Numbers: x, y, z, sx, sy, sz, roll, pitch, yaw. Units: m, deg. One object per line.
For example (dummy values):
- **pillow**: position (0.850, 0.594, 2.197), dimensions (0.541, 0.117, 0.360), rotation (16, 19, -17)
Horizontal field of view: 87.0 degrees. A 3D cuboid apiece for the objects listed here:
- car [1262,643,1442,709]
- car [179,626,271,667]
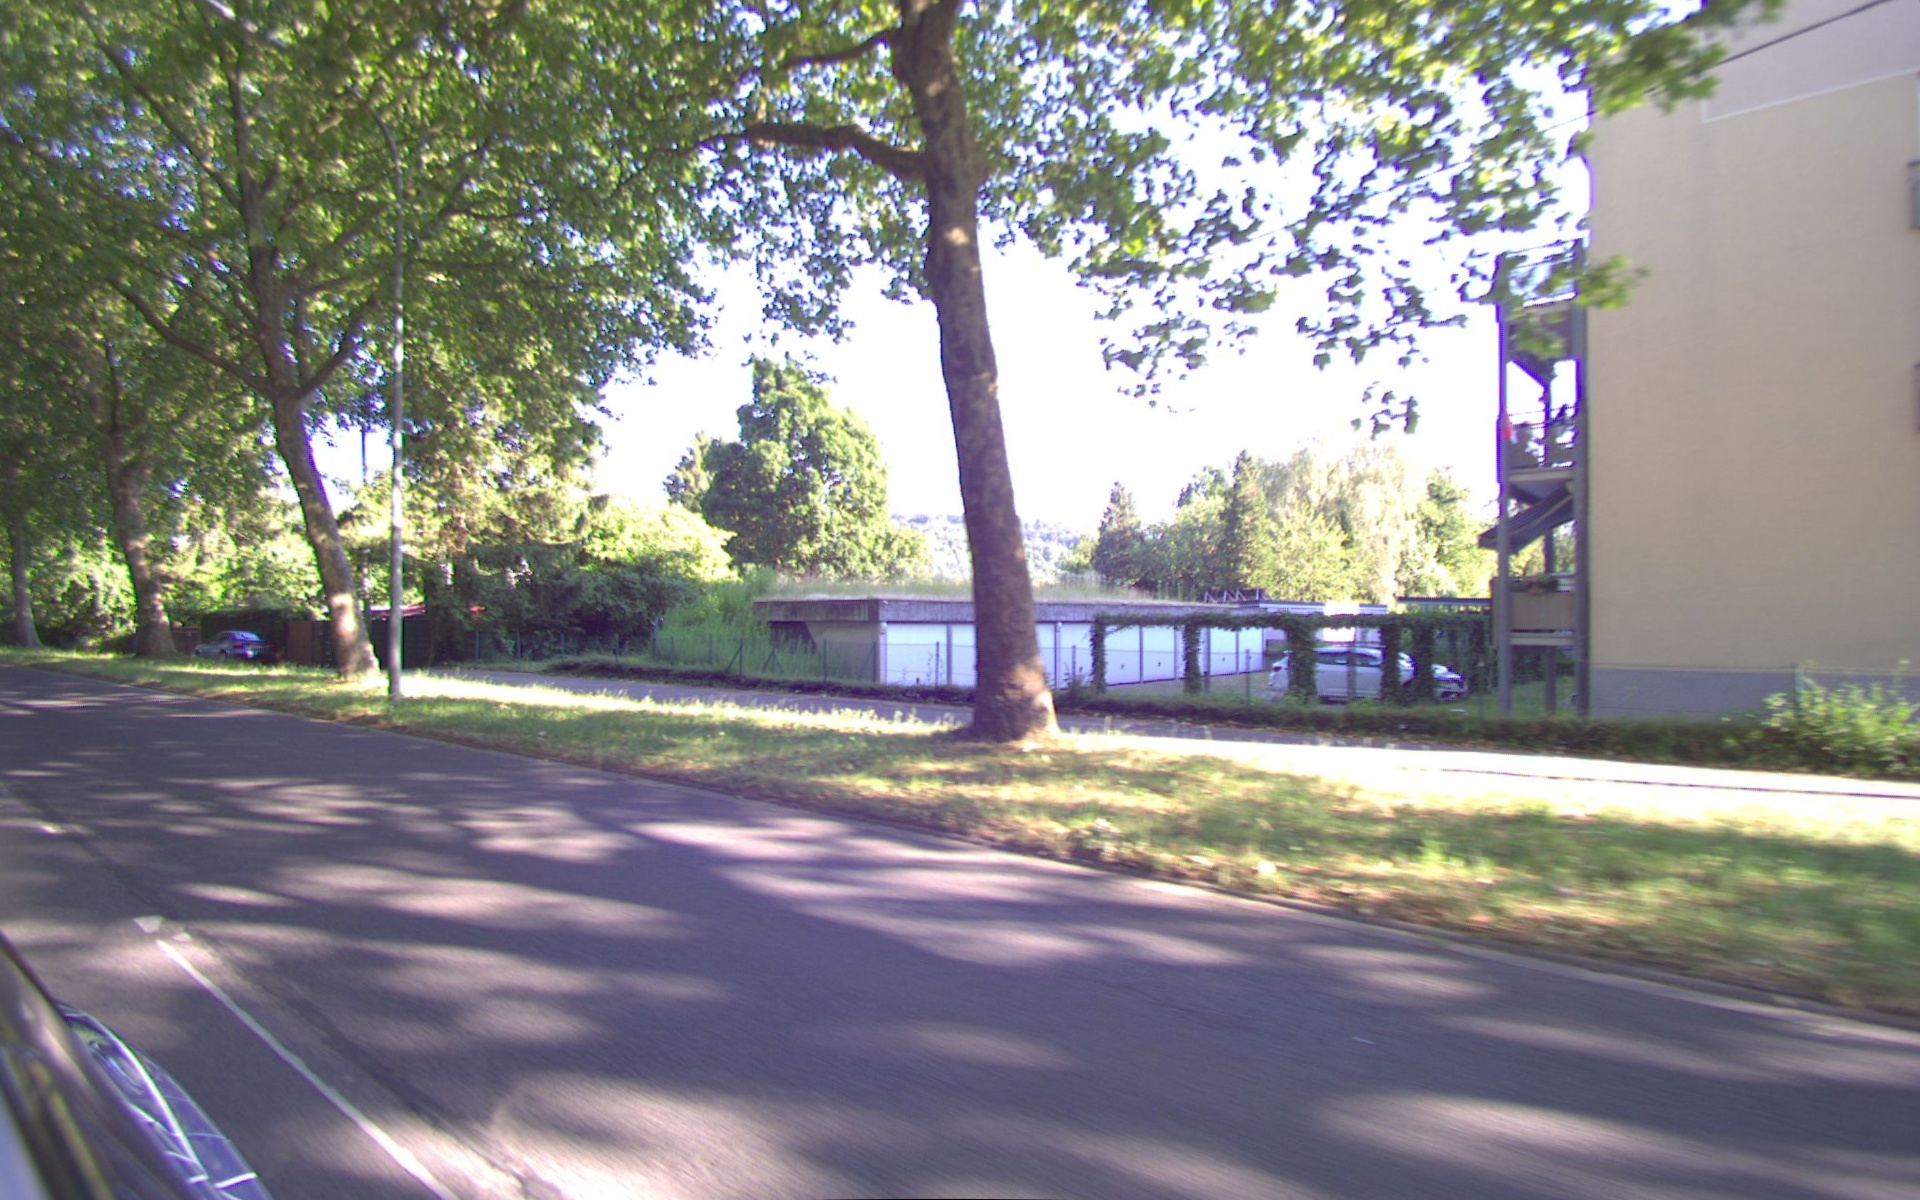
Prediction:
- **car**: position (10.332, 1.948, 26.810), dimensions (4.112, 1.558, 1.865), rotation (-1, -2, 38)
- **car**: position (-29.409, 1.835, 40.464), dimensions (3.991, 1.542, 1.793), rotation (-1, -2, 35)
